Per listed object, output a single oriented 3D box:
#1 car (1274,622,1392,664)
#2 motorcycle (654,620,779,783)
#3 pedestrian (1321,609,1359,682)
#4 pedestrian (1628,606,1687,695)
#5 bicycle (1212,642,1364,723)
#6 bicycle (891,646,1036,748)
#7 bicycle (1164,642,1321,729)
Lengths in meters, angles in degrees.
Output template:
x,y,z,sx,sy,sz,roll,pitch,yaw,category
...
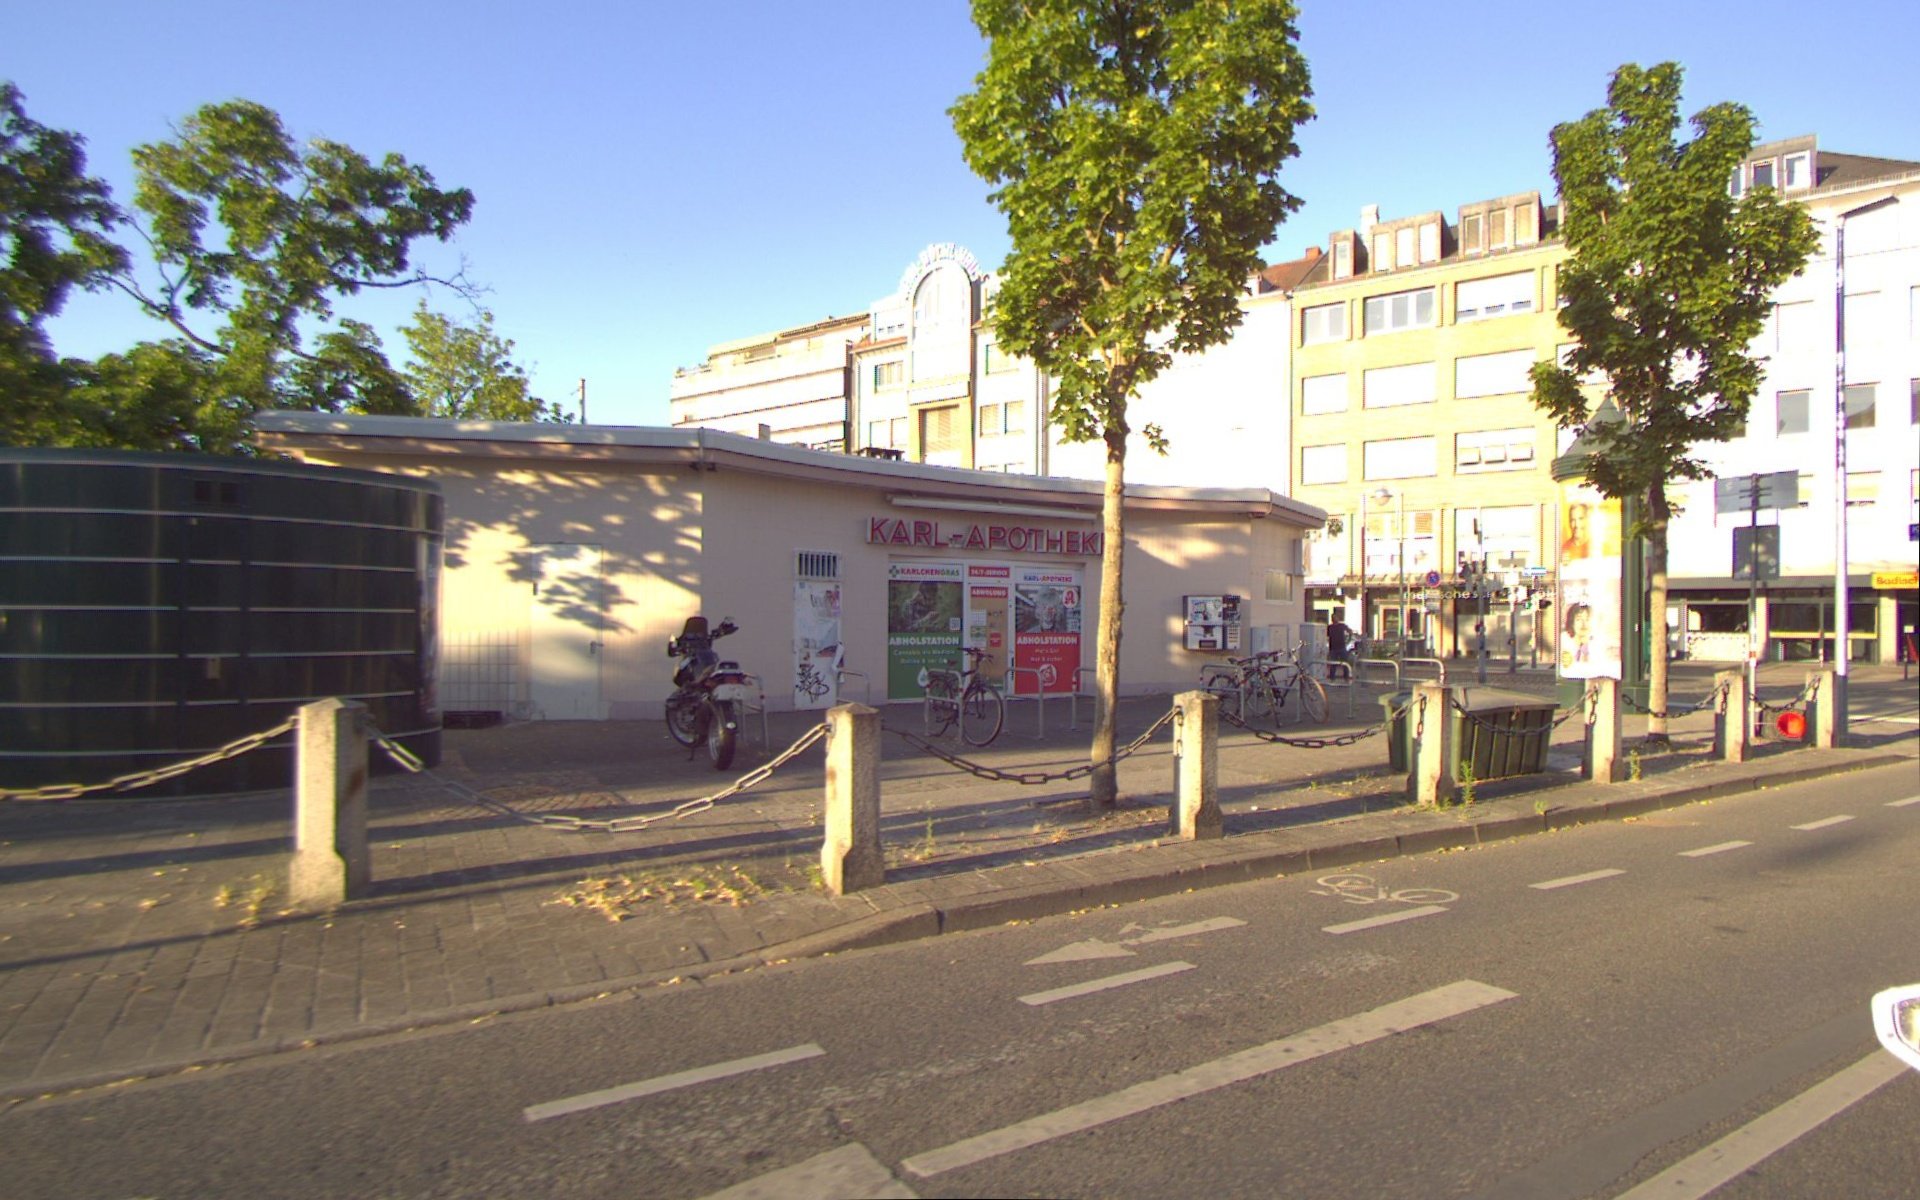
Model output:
x,y,z,sx,sy,sz,roll,pitch,yaw,category
15.331,1.731,41.366,4.236,1.596,1.791,0,0,40,car
-2.535,0.933,10.226,0.769,1.384,2.437,0,0,-25,motorcycle
9.141,1.069,24.133,0.764,1.698,0.906,2,0,24,pedestrian
14.764,1.041,21.282,0.890,1.808,0.880,2,0,29,pedestrian
4.960,1.217,15.341,0.772,1.102,2.174,2,-2,-37,bicycle
-0.008,1.123,12.251,0.770,1.102,2.165,2,-2,-30,bicycle
4.074,1.200,14.661,0.772,1.102,2.199,2,-1,-37,bicycle
